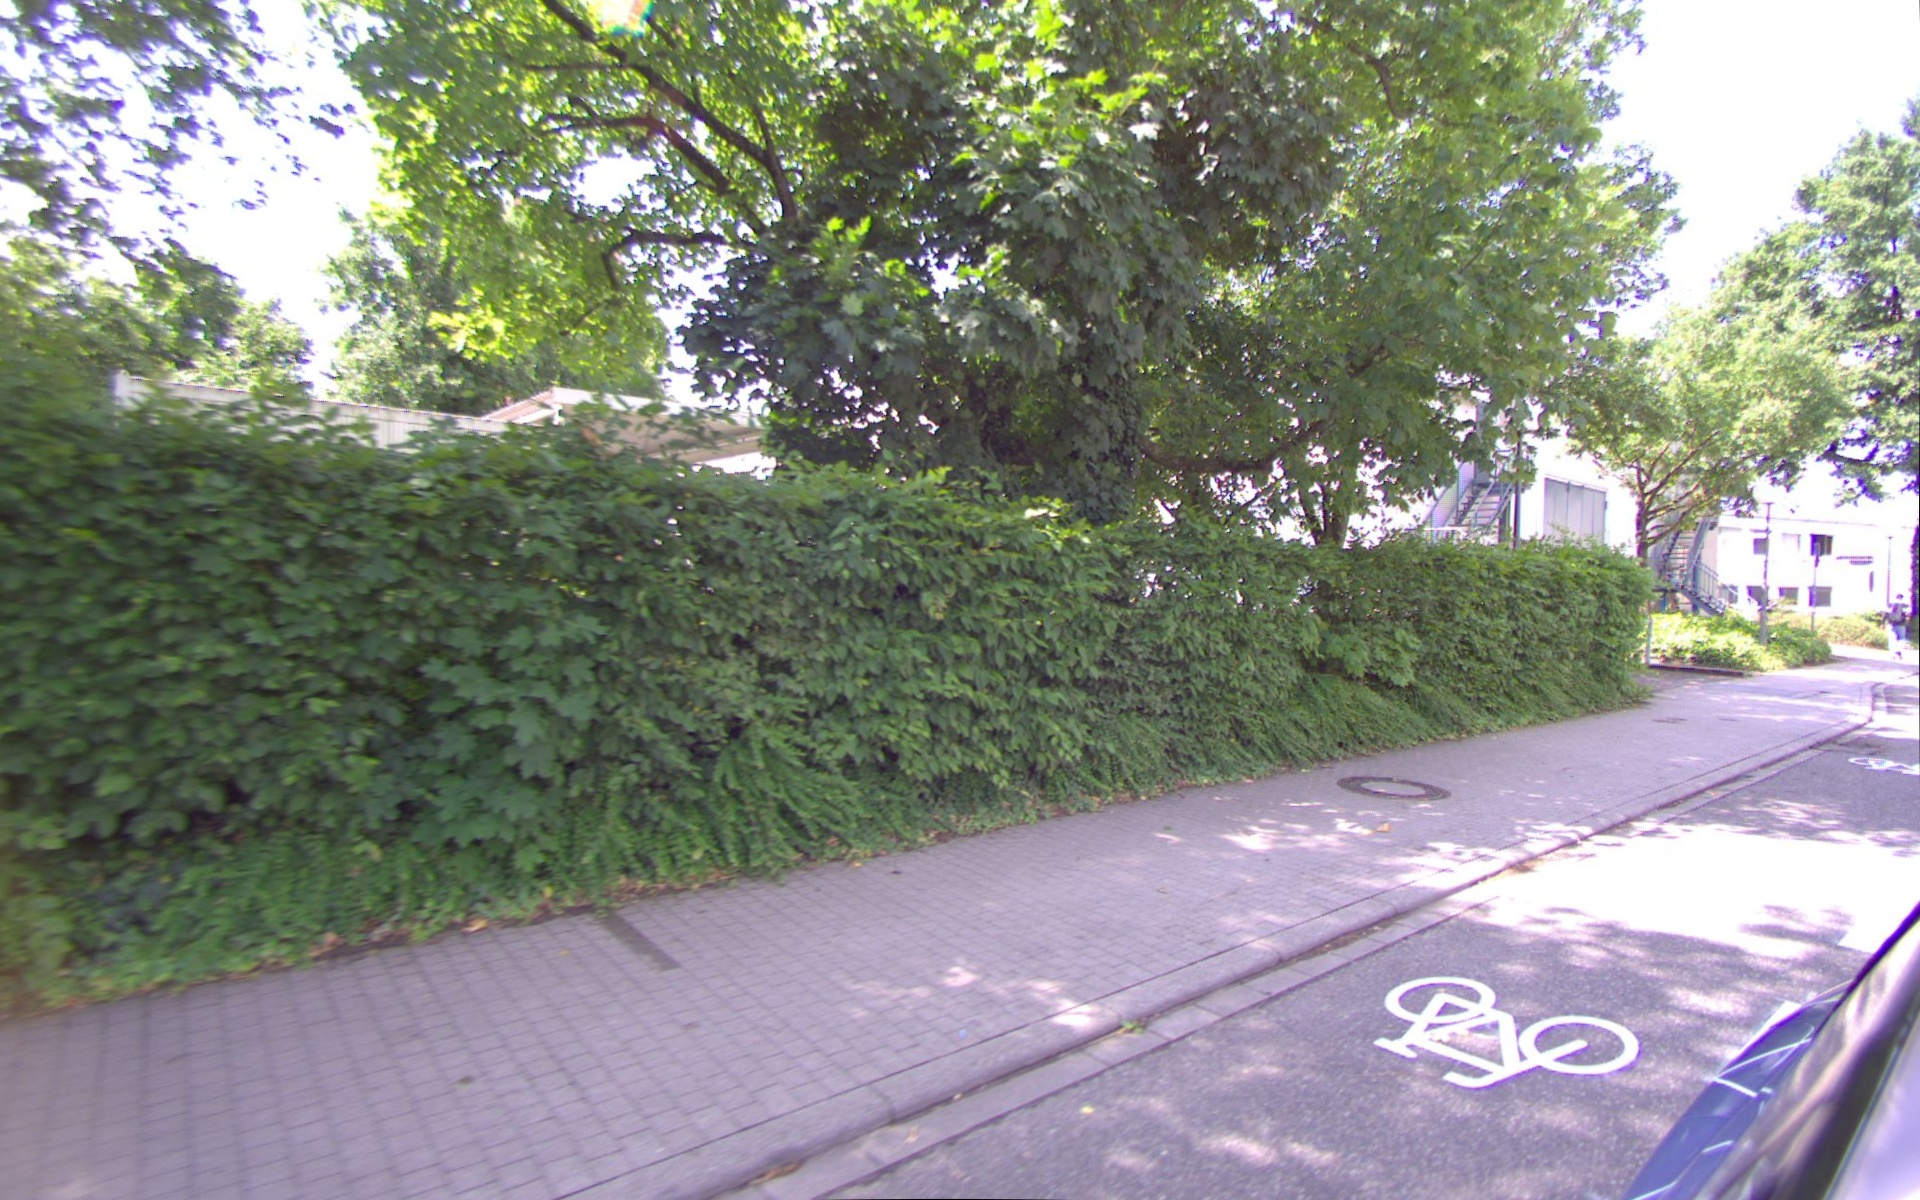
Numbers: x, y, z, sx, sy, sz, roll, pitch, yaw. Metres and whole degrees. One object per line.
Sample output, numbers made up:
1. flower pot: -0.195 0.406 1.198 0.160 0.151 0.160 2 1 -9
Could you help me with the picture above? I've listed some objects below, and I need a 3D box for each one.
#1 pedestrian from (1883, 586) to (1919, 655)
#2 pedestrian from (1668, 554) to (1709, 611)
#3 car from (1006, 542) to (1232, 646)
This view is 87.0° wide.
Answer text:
1. pedestrian: 24.052 0.505 25.715 1.235 1.695 0.740 1 1 -43
2. pedestrian: 26.777 -0.651 37.194 0.931 2.038 0.930 1 1 -36
3. car: 3.395 -0.204 22.497 2.024 2.038 4.838 1 2 -38
